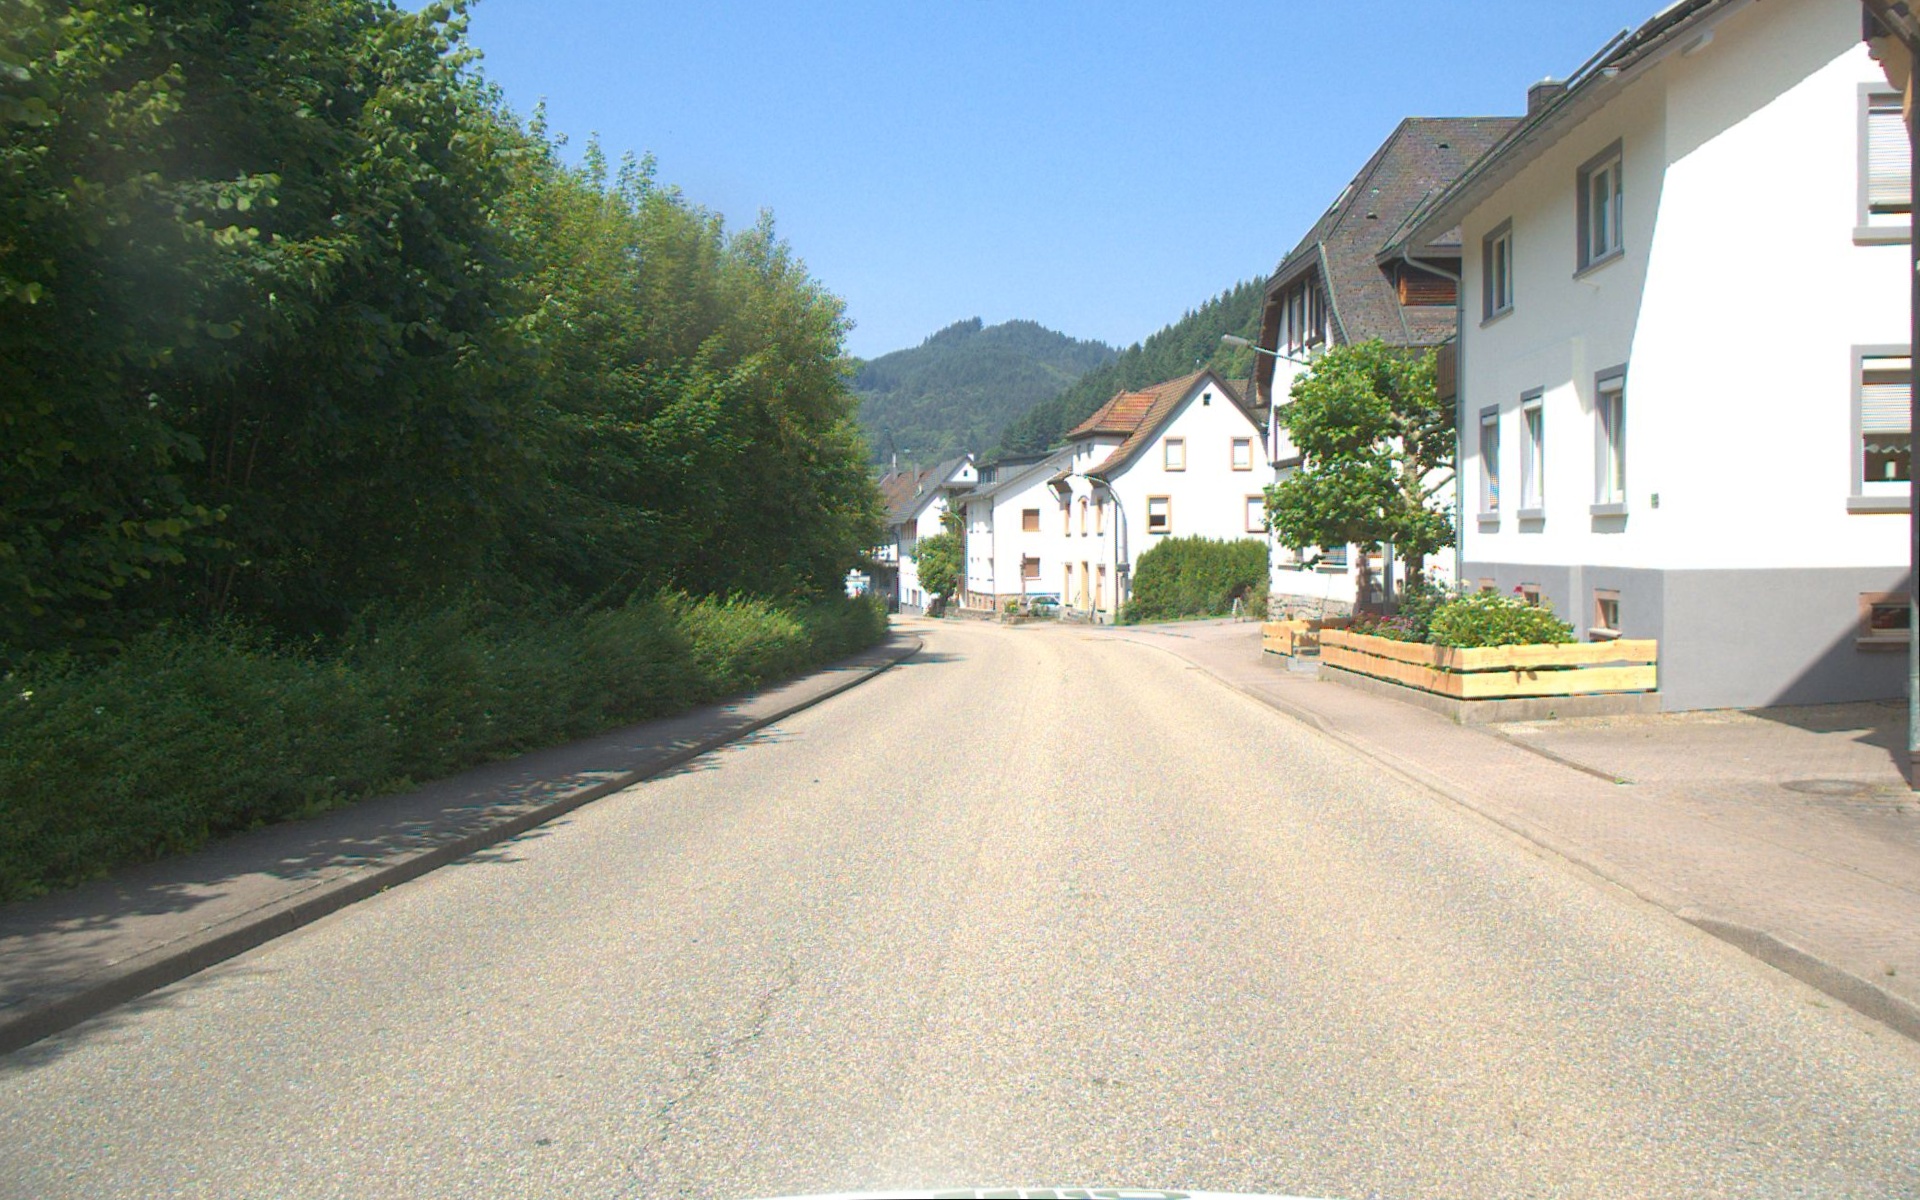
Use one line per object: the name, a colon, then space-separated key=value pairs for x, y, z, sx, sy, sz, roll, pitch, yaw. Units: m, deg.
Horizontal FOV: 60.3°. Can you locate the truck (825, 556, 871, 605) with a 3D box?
truck: x=-10.129 y=-1.697 z=148.880 sx=3.301 sy=3.847 sz=8.423 roll=-5 pitch=-1 yaw=-8
